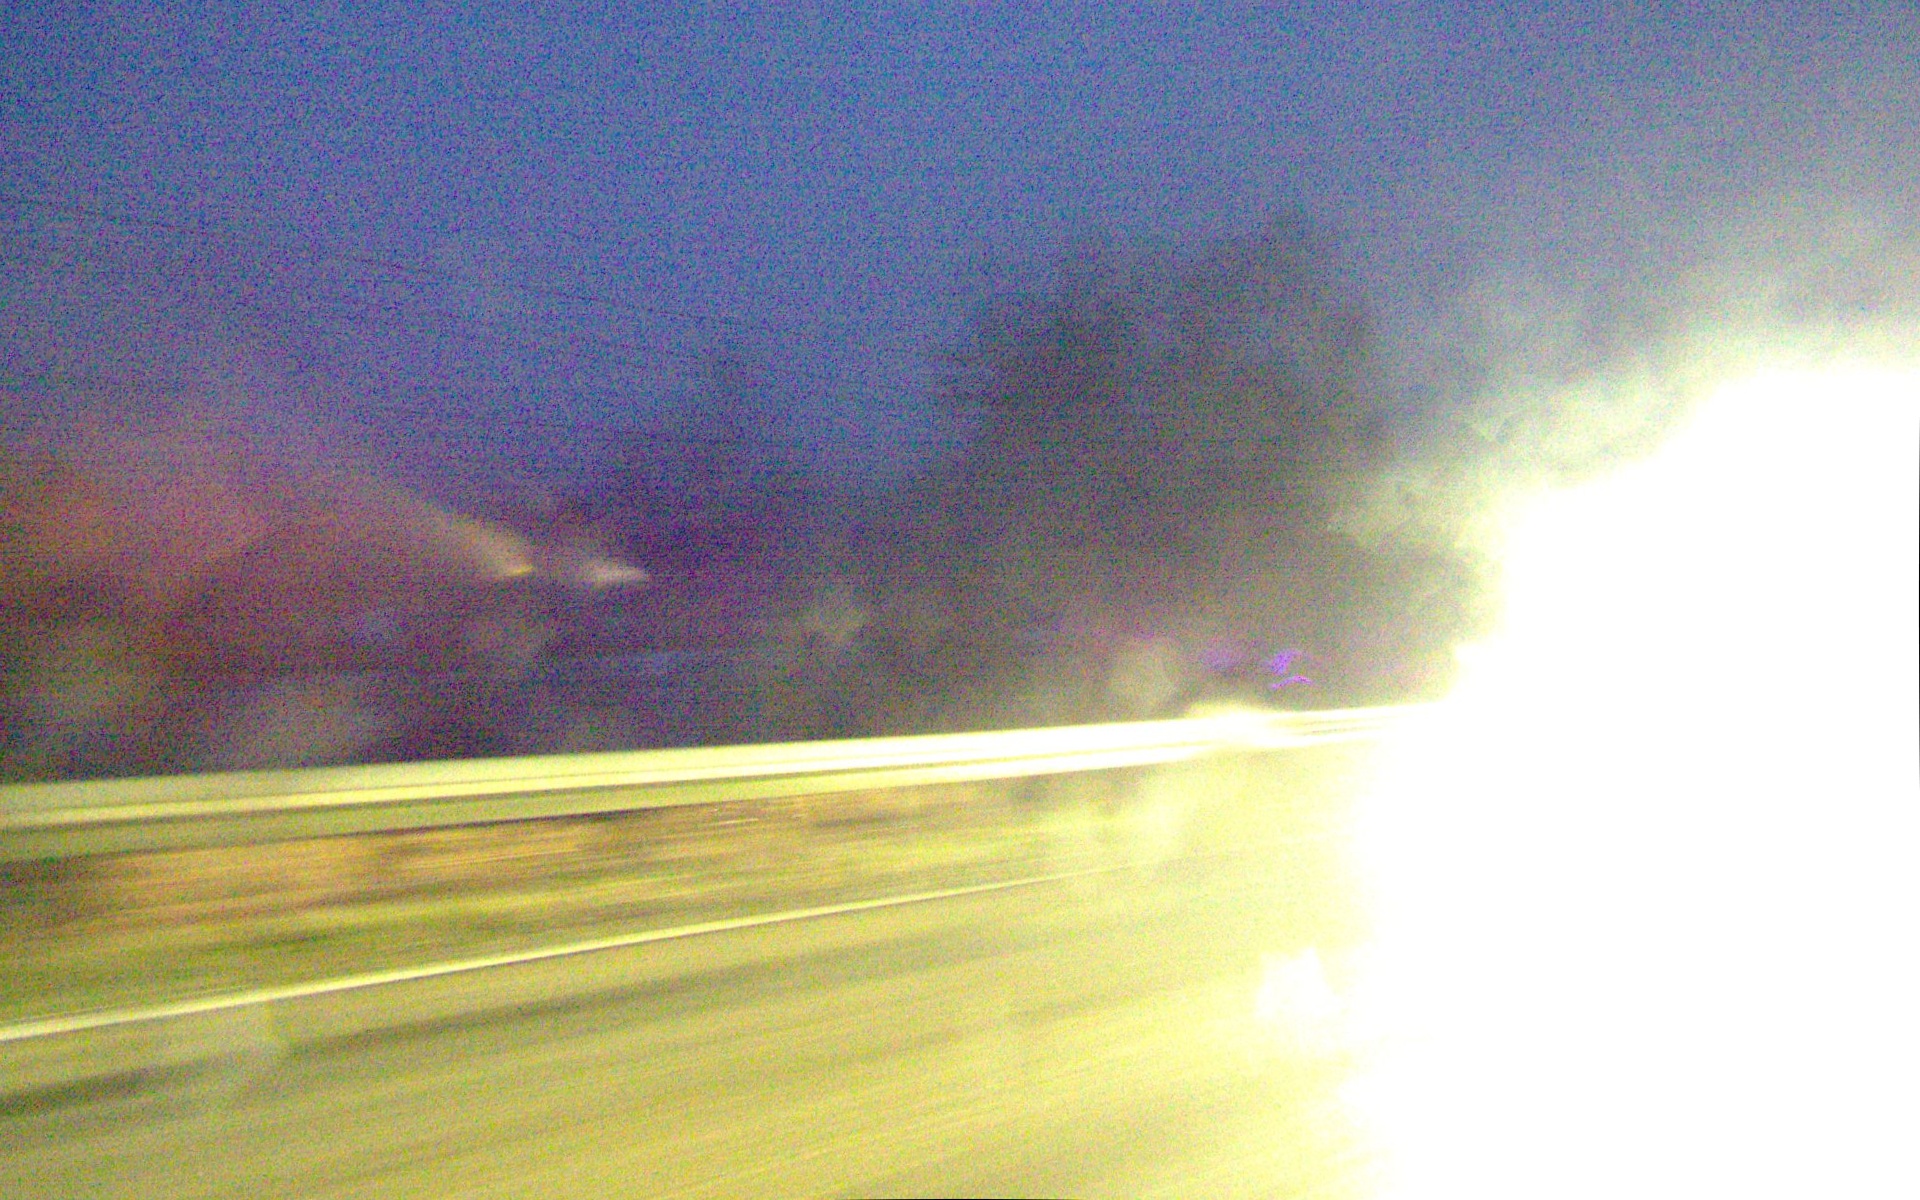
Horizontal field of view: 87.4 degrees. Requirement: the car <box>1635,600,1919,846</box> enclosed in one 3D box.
[{"bbox_3d":[7.521,0.820,7.971,4.296,1.536,1.965,1,-1,-31],"label":"car"}]
